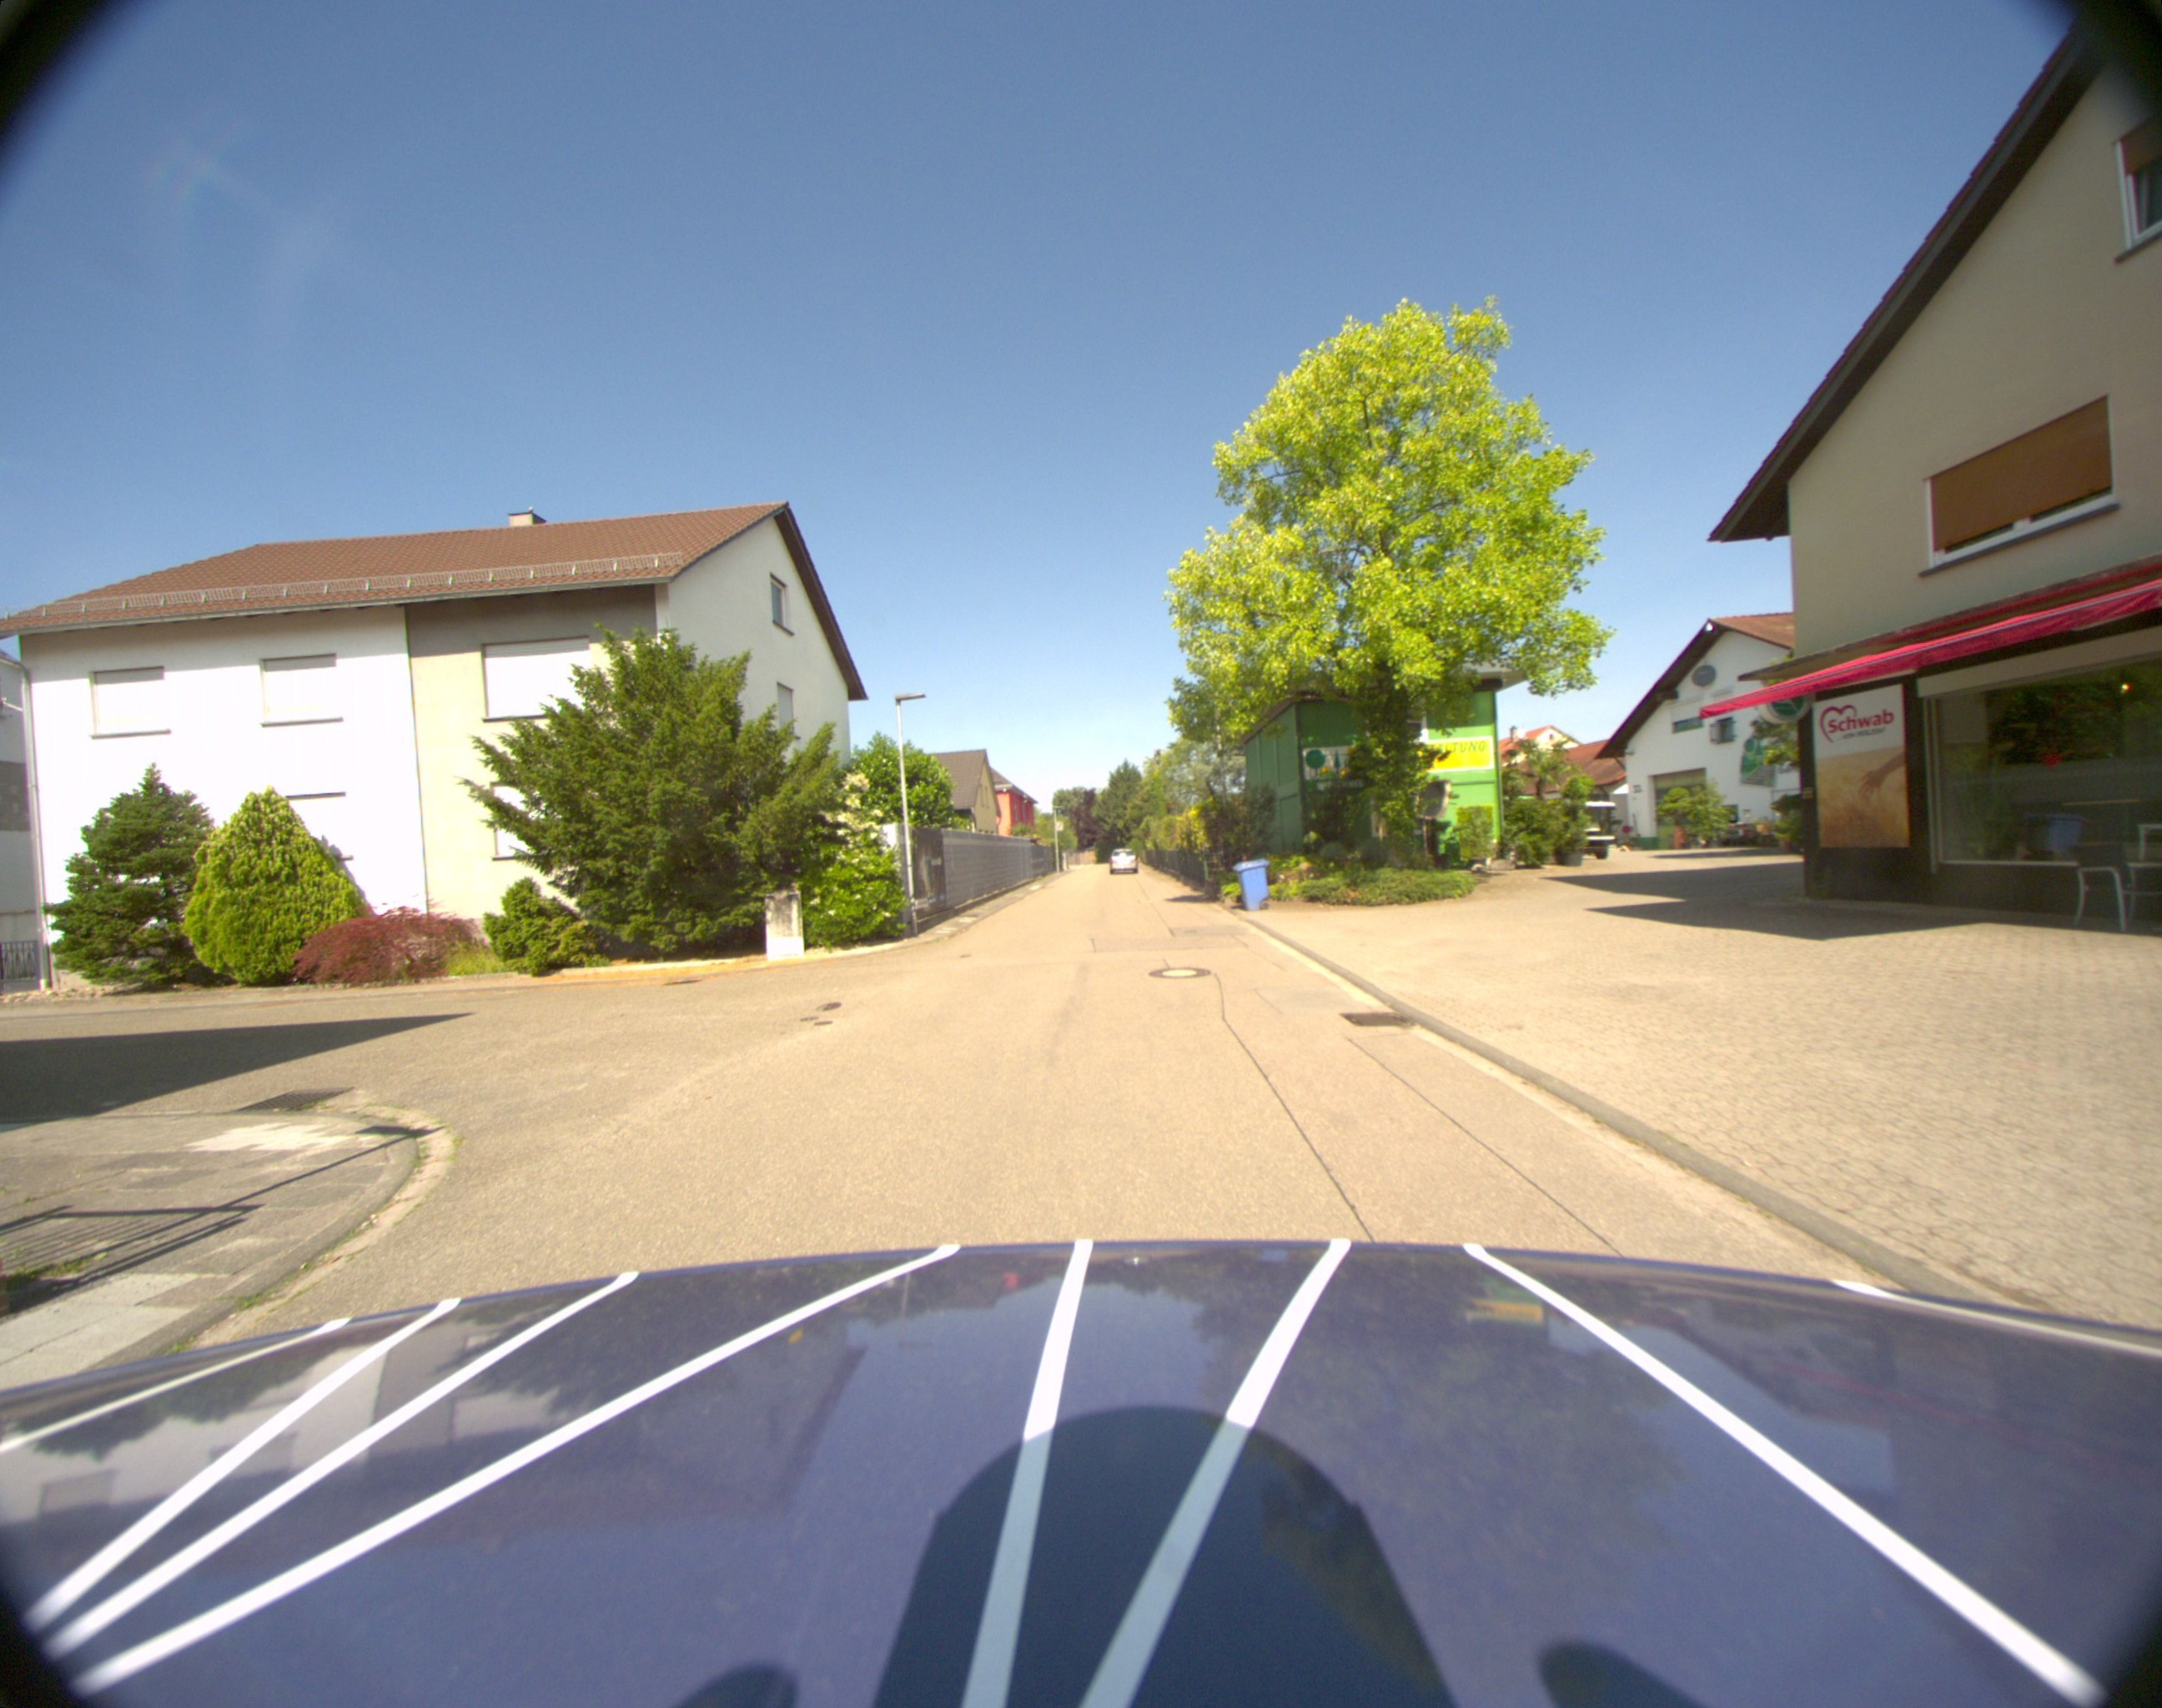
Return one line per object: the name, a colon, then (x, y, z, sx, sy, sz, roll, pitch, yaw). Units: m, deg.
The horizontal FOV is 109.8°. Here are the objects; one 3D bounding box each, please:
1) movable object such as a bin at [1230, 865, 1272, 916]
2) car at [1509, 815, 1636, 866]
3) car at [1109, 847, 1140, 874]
movable object such as a bin: (3.769, 0.804, 16.893, 0.732, 1.048, 0.612, -4, 1, 3)
car: (16.699, -0.472, 26.083, 1.861, 1.439, 4.000, -5, 1, 3)
car: (2.642, 0.378, 46.609, 1.757, 1.478, 4.376, -4, 0, 3)
